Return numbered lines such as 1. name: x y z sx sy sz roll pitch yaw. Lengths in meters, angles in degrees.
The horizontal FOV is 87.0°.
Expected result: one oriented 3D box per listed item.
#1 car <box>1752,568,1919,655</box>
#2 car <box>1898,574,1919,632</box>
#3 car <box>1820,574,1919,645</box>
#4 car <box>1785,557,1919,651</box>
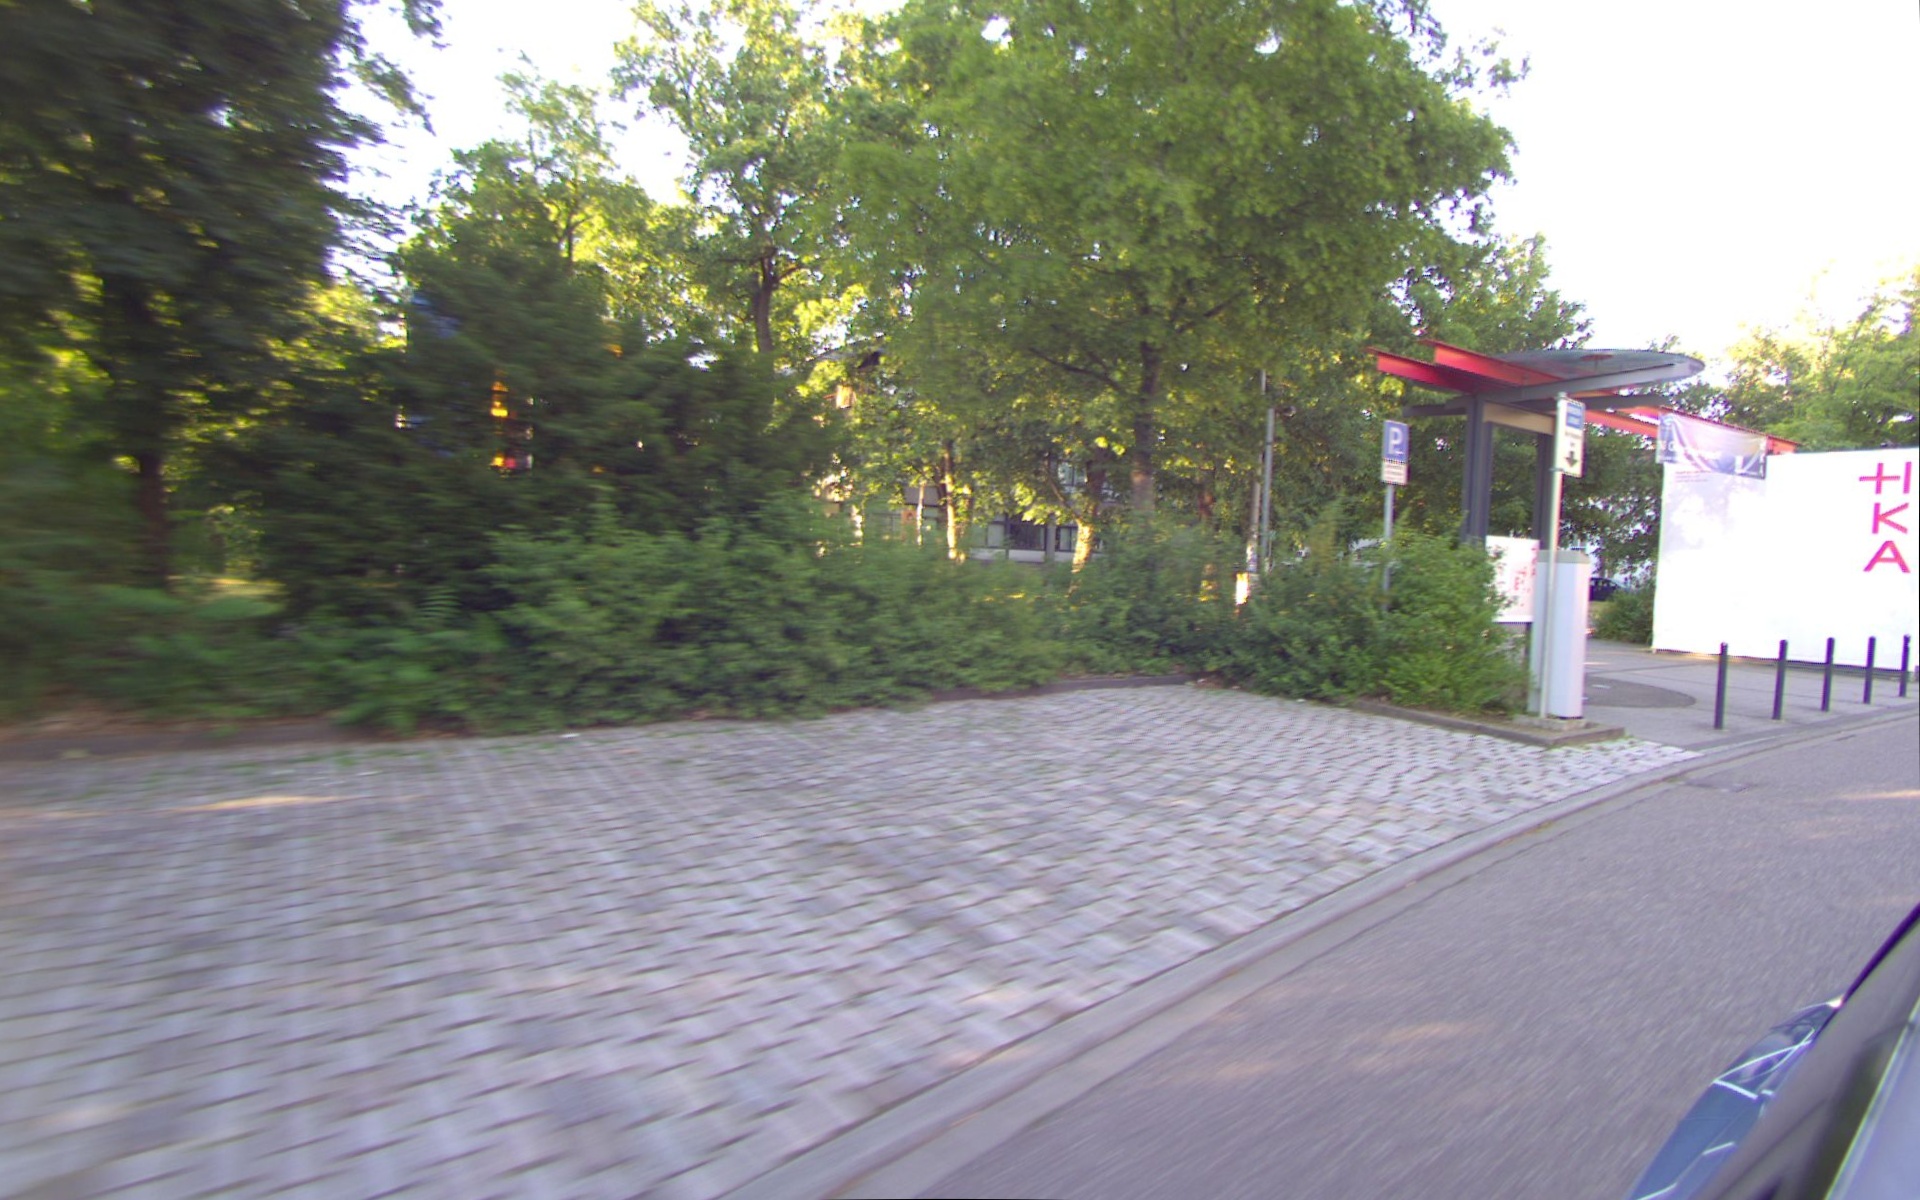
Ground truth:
1. car: 20.299 0.316 21.573 1.879 1.572 4.948 1 5 -34
2. car: 28.316 0.278 27.045 1.884 1.555 4.382 1 5 -34
3. car: 24.347 0.370 24.522 1.879 1.572 4.948 1 5 -34
4. car: 22.256 0.170 23.080 1.879 1.938 4.874 1 5 -34
